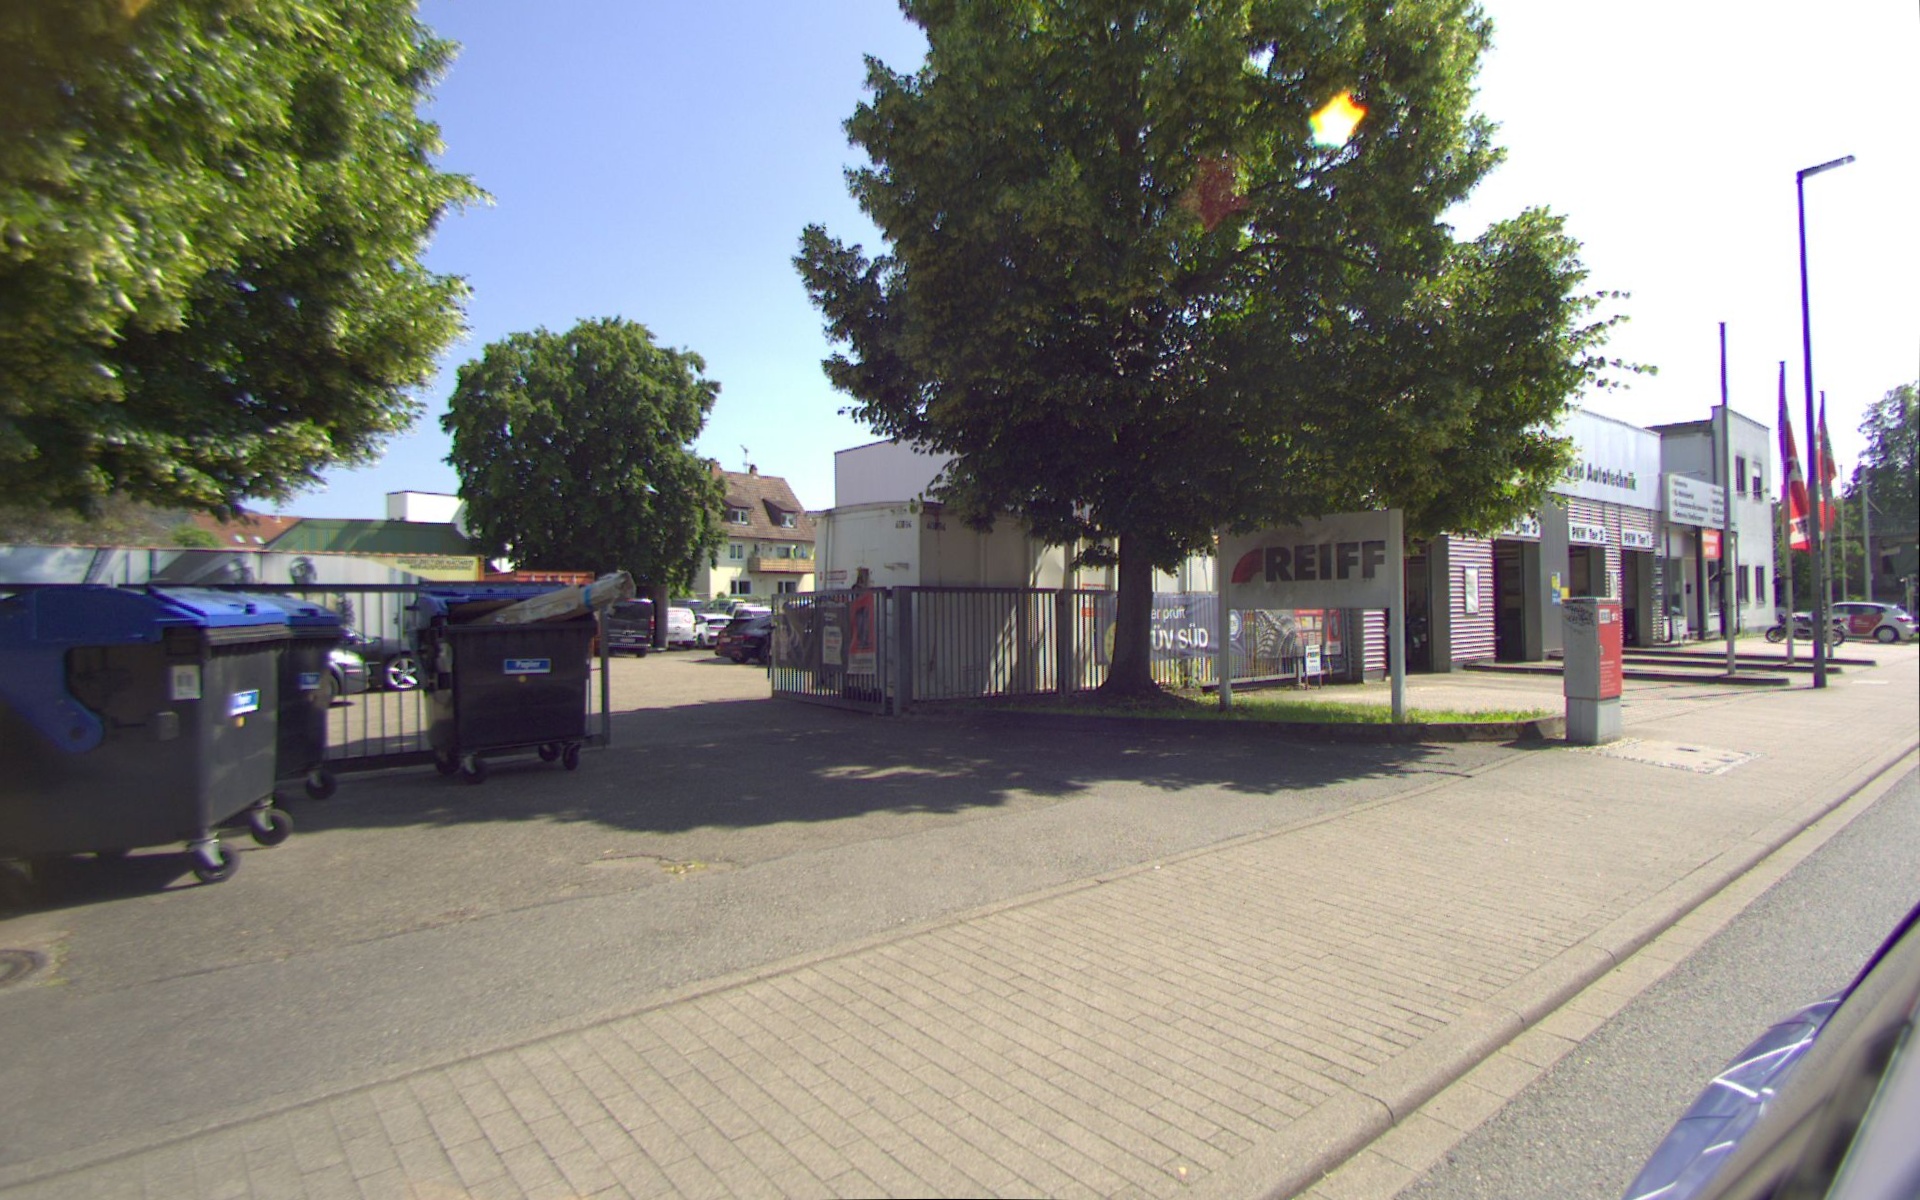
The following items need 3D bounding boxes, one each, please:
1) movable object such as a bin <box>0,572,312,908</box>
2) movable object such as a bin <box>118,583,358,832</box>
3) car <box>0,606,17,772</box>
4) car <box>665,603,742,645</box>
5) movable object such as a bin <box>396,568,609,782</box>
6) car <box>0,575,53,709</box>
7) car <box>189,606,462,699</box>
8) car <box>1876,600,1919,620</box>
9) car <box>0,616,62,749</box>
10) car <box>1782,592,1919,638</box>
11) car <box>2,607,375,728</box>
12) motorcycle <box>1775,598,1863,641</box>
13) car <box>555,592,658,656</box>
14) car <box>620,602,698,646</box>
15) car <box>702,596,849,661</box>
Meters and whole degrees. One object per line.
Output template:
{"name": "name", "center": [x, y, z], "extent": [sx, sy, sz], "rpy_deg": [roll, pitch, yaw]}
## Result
{"name": "movable object such as a bin", "center": [-4.136, 0.619, 5.181], "extent": [0.970, 1.448, 1.391], "rpy_deg": [-2, 0, -15]}
{"name": "movable object such as a bin", "center": [-4.736, 0.641, 6.760], "extent": [0.866, 1.448, 1.323], "rpy_deg": [-2, 0, -15]}
{"name": "car", "center": [-10.484, 0.796, 8.282], "extent": [3.929, 1.478, 1.746], "rpy_deg": [0, -1, -40]}
{"name": "car", "center": [-11.678, 1.135, 45.933], "extent": [1.805, 1.811, 3.992], "rpy_deg": [2, -4, -41]}
{"name": "movable object such as a bin", "center": [-3.726, 0.548, 8.265], "extent": [1.299, 1.566, 0.978], "rpy_deg": [-2, 0, -44]}
{"name": "car", "center": [-15.641, 0.559, 14.362], "extent": [3.976, 1.948, 1.719], "rpy_deg": [3, -2, -40]}
{"name": "car", "center": [-11.358, 0.858, 18.252], "extent": [3.977, 1.409, 1.719], "rpy_deg": [-1, 0, -40]}
{"name": "car", "center": [80.373, 0.907, 86.612], "extent": [1.805, 1.624, 4.264], "rpy_deg": [-3, -2, 28]}
{"name": "car", "center": [-12.344, 0.844, 10.294], "extent": [4.683, 1.396, 1.891], "rpy_deg": [2, -1, -40]}
{"name": "car", "center": [33.555, 0.515, 37.948], "extent": [1.857, 1.480, 3.994], "rpy_deg": [0, 3, -41]}
{"name": "car", "center": [-11.103, 0.867, 14.836], "extent": [4.159, 1.478, 1.746], "rpy_deg": [0, 0, -40]}
{"name": "motorcycle", "center": [29.303, 0.654, 34.544], "extent": [0.718, 1.324, 2.187], "rpy_deg": [0, 3, -41]}
{"name": "car", "center": [-12.097, 0.795, 34.508], "extent": [1.913, 2.039, 4.384], "rpy_deg": [2, -1, -39]}
{"name": "car", "center": [-13.232, 1.078, 44.391], "extent": [1.805, 1.811, 3.992], "rpy_deg": [2, -4, -41]}
{"name": "car", "center": [-5.441, 0.867, 30.091], "extent": [3.928, 1.811, 1.834], "rpy_deg": [2, -4, -40]}
